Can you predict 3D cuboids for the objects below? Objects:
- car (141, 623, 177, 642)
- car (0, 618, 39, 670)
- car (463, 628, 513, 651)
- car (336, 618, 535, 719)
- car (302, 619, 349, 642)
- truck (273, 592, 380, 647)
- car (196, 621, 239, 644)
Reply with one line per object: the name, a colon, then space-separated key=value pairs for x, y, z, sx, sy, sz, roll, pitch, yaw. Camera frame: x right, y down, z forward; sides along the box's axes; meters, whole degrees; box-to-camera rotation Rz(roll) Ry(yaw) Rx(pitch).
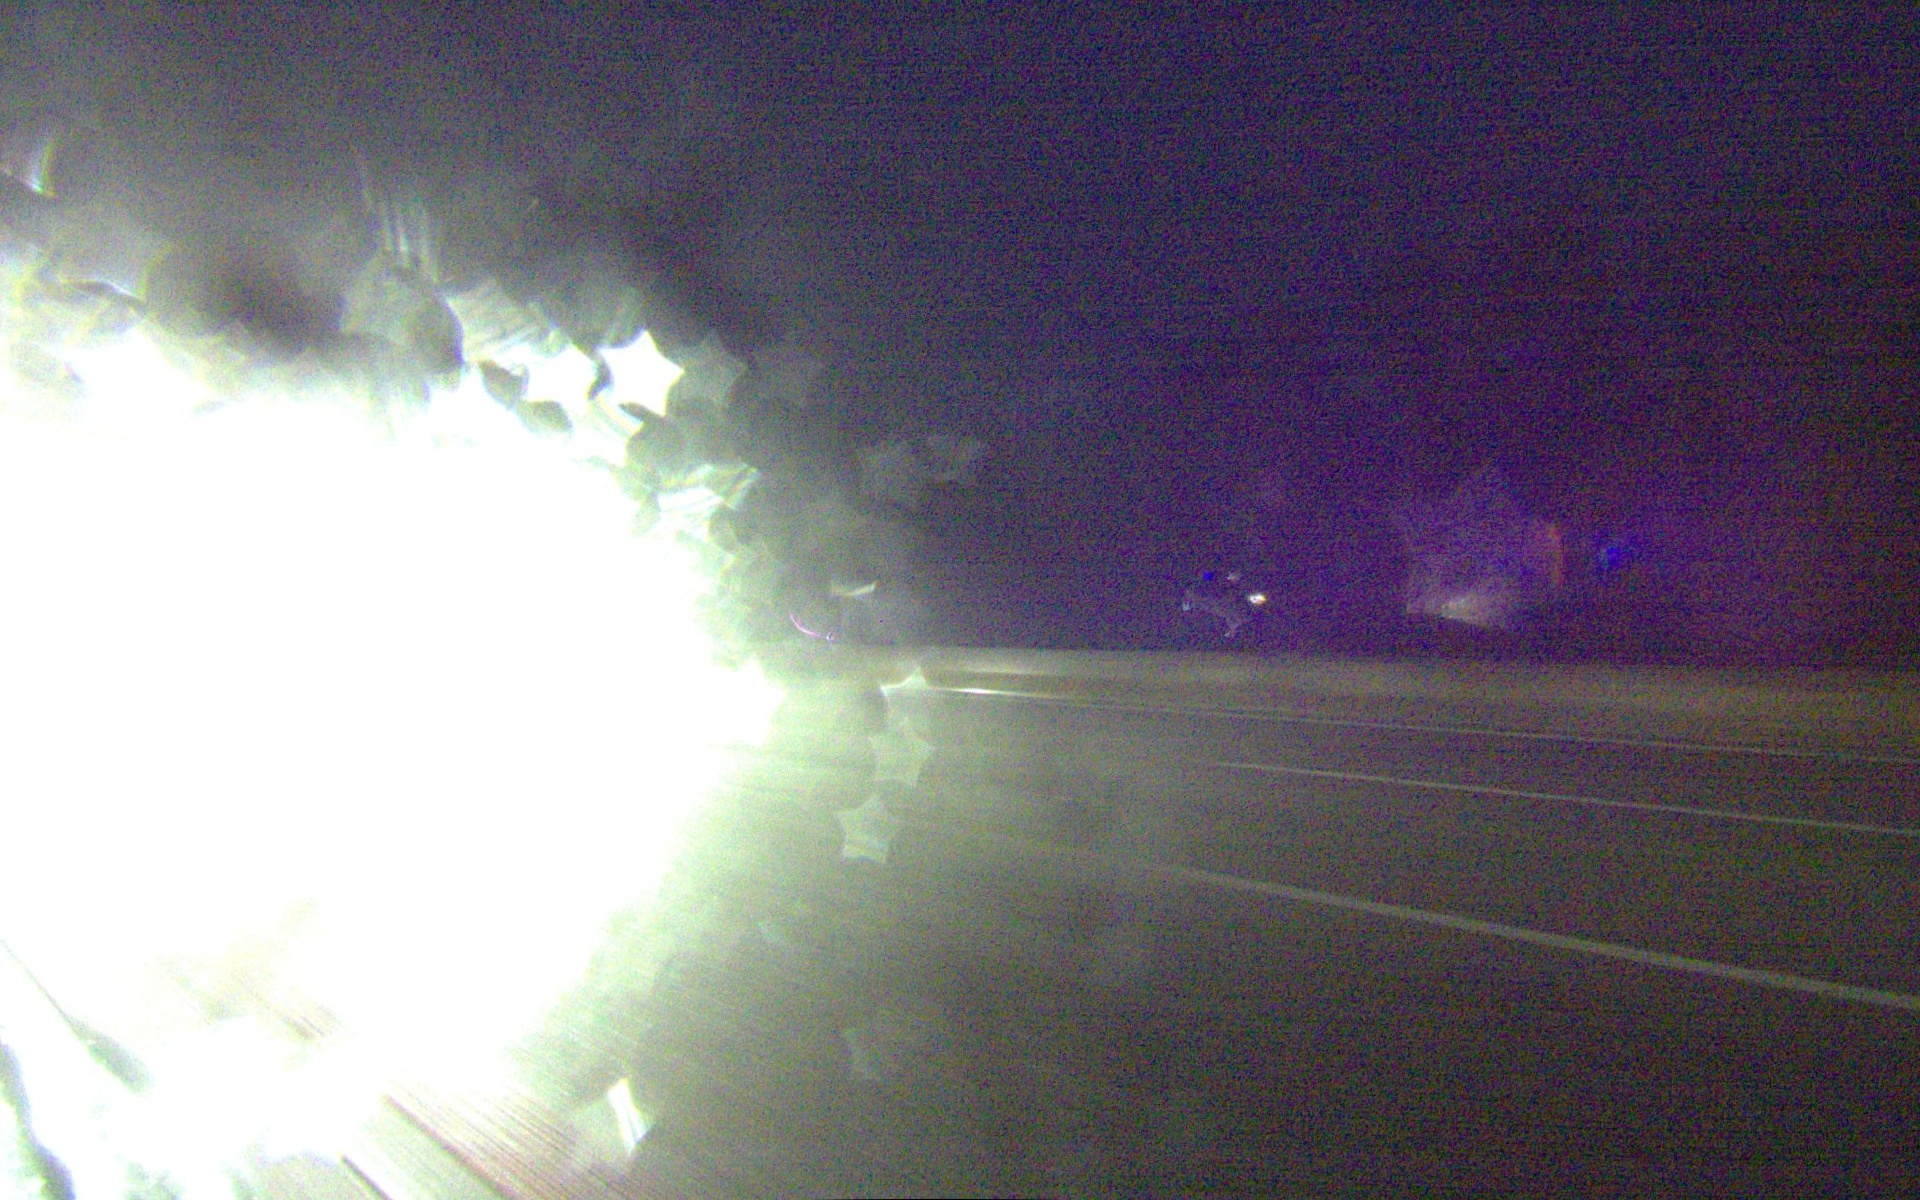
car: x=-66.306 y=2.668 z=83.765 sx=3.955 sy=1.441 sz=1.597 roll=-1 pitch=0 yaw=41
car: x=-33.611 y=1.533 z=35.094 sx=4.913 sy=1.677 sz=1.935 roll=-2 pitch=-1 yaw=41
car: x=-31.797 y=2.641 z=68.162 sx=3.930 sy=1.457 sz=1.625 roll=-1 pitch=0 yaw=41
car: x=-8.764 y=1.053 z=16.734 sx=4.247 sy=1.442 sz=1.638 roll=-2 pitch=-1 yaw=44
car: x=-43.067 y=2.046 z=68.662 sx=3.930 sy=1.457 sz=1.625 roll=-1 pitch=0 yaw=41
truck: x=-57.823 y=1.772 z=91.974 sx=17.591 sy=4.593 sz=3.374 roll=-1 pitch=0 yaw=41
car: x=-52.437 y=2.258 z=71.460 sx=3.813 sy=1.515 sz=1.661 roll=-1 pitch=0 yaw=41
